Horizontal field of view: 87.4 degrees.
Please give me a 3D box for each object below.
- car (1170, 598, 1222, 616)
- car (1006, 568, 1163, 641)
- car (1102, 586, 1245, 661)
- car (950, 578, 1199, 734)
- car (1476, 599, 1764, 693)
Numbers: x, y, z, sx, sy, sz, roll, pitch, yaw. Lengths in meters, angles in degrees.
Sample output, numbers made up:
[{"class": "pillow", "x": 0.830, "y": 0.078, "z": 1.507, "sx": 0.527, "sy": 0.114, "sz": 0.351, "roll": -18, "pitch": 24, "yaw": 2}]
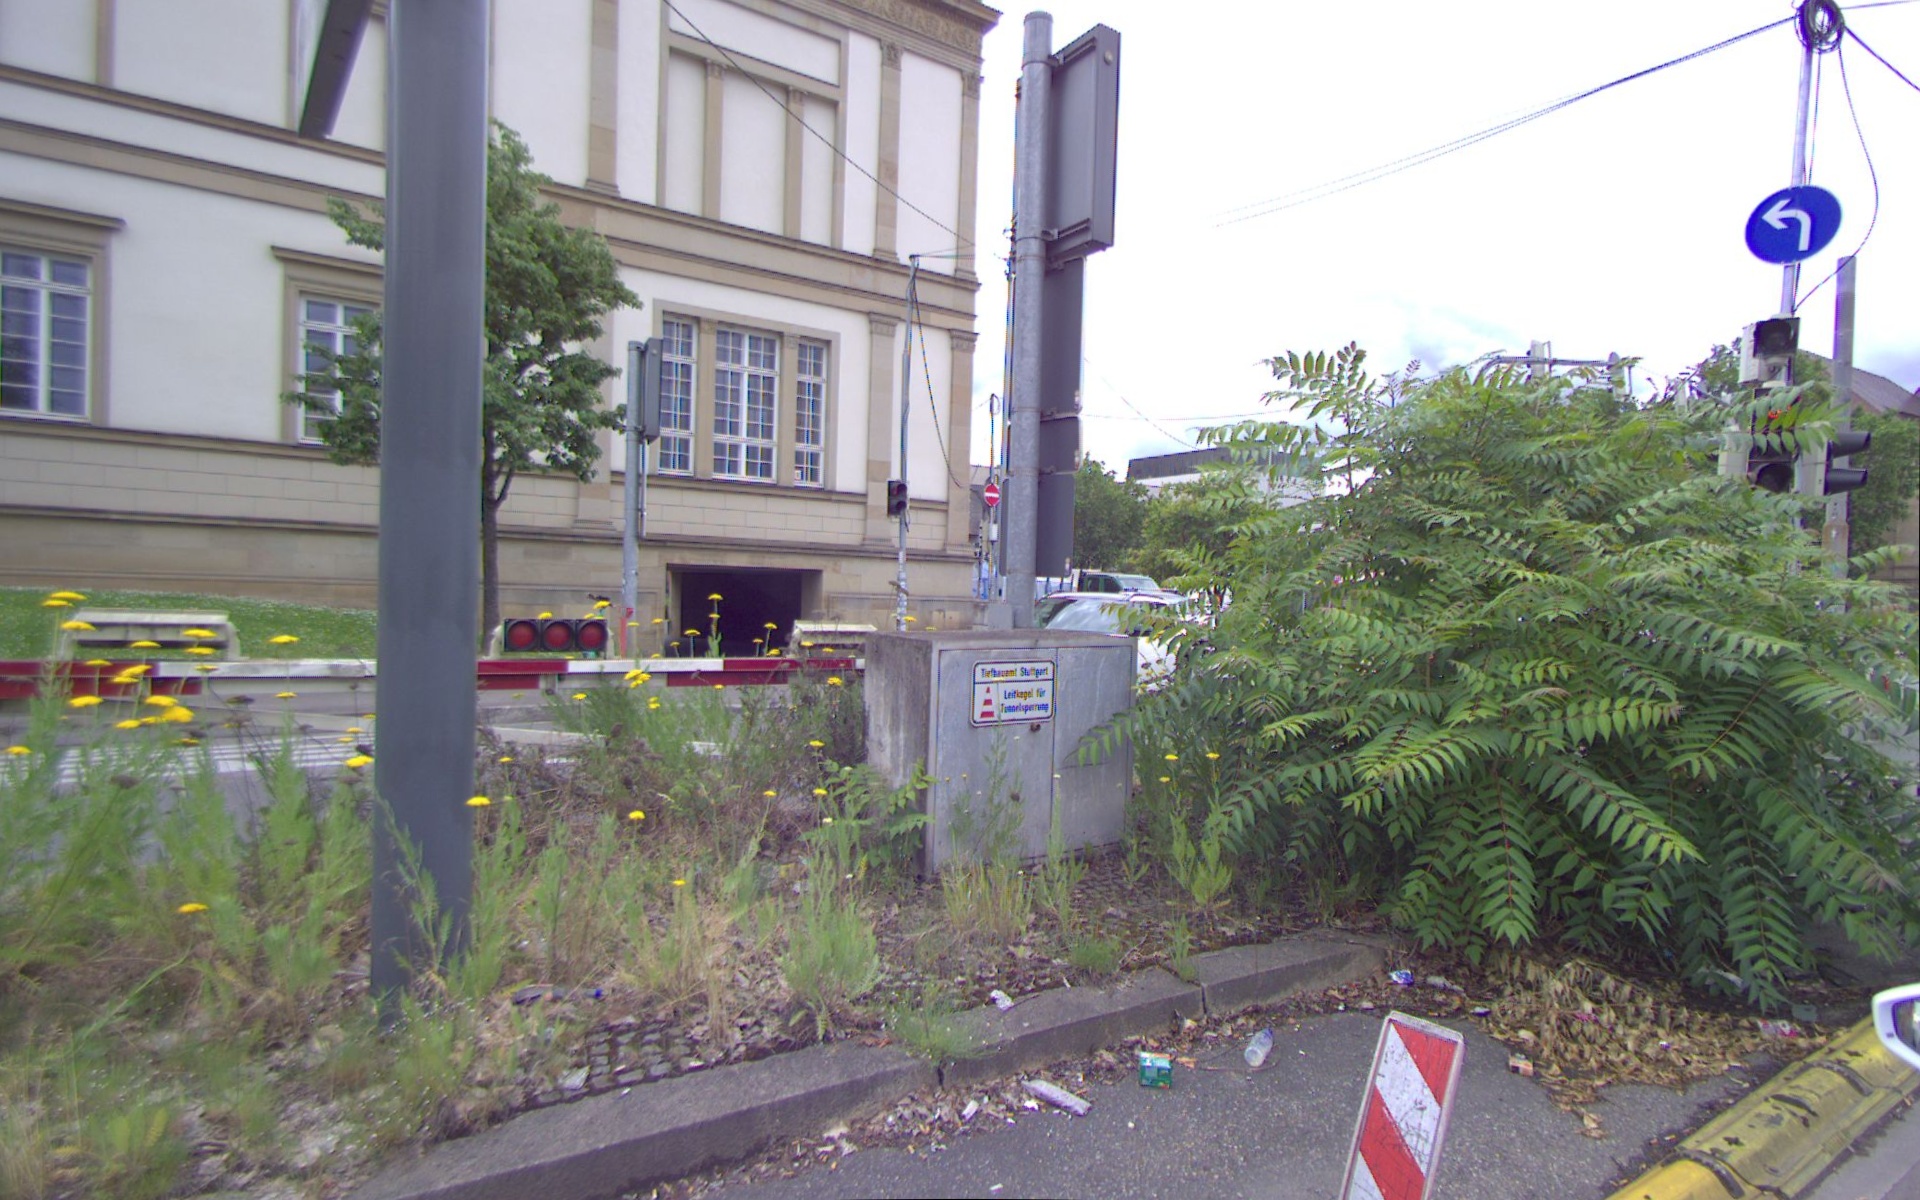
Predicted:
[{"class": "car", "x": 17.802, "y": 0.510, "z": 75.913, "sx": 1.667, "sy": 1.271, "sz": 3.578, "roll": 2, "pitch": 0, "yaw": -38}, {"class": "car", "x": 4.228, "y": 0.139, "z": 35.299, "sx": 2.280, "sy": 2.336, "sz": 5.723, "roll": 2, "pitch": 0, "yaw": -34}, {"class": "car", "x": 5.063, "y": 0.523, "z": 24.428, "sx": 1.872, "sy": 1.647, "sz": 4.097, "roll": 1, "pitch": 0, "yaw": -12}, {"class": "car", "x": 1.718, "y": 0.651, "z": 13.501, "sx": 1.842, "sy": 1.714, "sz": 4.262, "roll": 2, "pitch": 0, "yaw": 28}, {"class": "car", "x": 13.359, "y": 0.862, "z": 20.676, "sx": 1.663, "sy": 1.646, "sz": 4.684, "roll": 2, "pitch": 0, "yaw": -32}]
